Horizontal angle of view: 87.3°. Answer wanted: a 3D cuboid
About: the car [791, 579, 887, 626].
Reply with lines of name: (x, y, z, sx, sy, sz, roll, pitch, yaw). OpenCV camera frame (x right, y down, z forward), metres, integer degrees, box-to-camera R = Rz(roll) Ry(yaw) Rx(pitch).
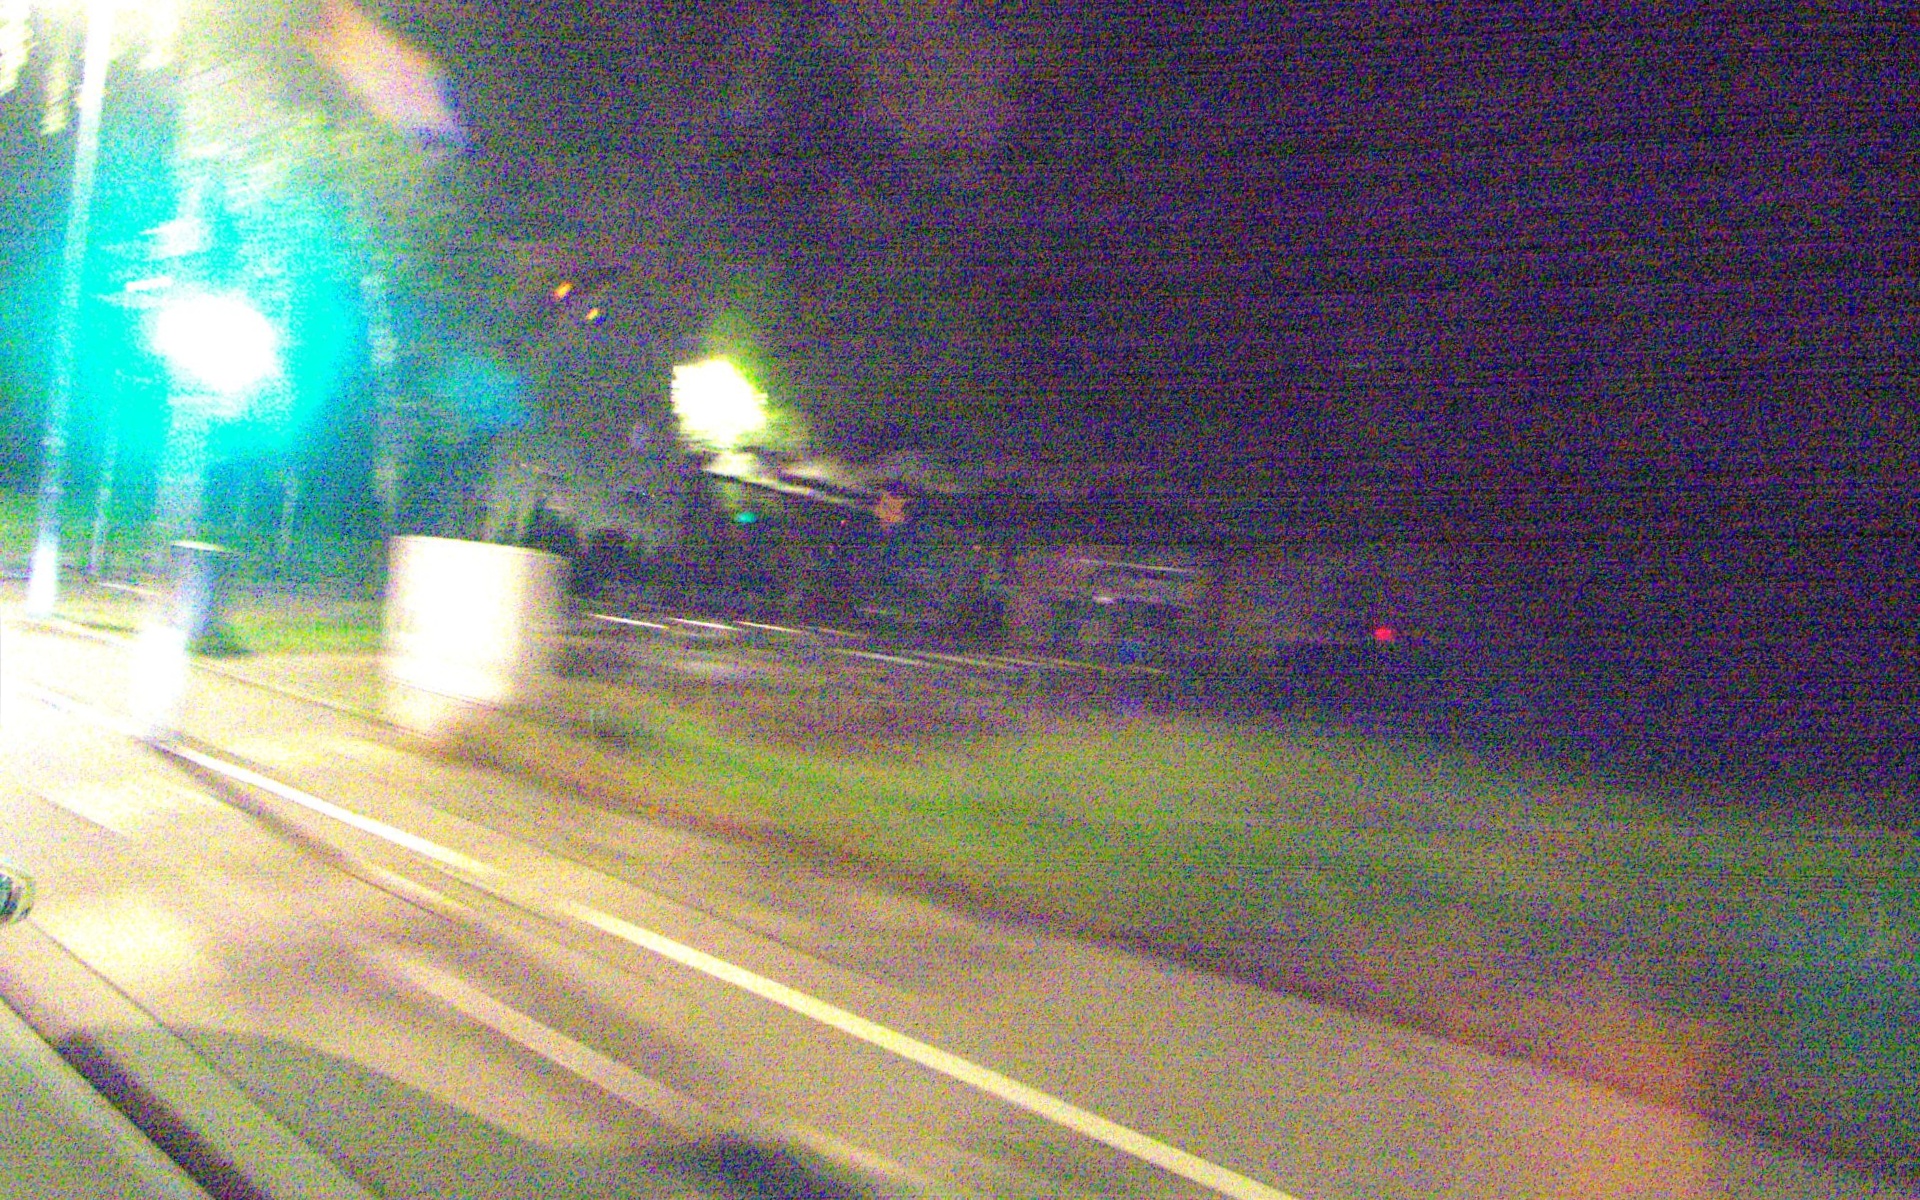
car: (-4.748, 0.127, 39.824, 1.720, 1.491, 3.776, 6, 0, 31)
